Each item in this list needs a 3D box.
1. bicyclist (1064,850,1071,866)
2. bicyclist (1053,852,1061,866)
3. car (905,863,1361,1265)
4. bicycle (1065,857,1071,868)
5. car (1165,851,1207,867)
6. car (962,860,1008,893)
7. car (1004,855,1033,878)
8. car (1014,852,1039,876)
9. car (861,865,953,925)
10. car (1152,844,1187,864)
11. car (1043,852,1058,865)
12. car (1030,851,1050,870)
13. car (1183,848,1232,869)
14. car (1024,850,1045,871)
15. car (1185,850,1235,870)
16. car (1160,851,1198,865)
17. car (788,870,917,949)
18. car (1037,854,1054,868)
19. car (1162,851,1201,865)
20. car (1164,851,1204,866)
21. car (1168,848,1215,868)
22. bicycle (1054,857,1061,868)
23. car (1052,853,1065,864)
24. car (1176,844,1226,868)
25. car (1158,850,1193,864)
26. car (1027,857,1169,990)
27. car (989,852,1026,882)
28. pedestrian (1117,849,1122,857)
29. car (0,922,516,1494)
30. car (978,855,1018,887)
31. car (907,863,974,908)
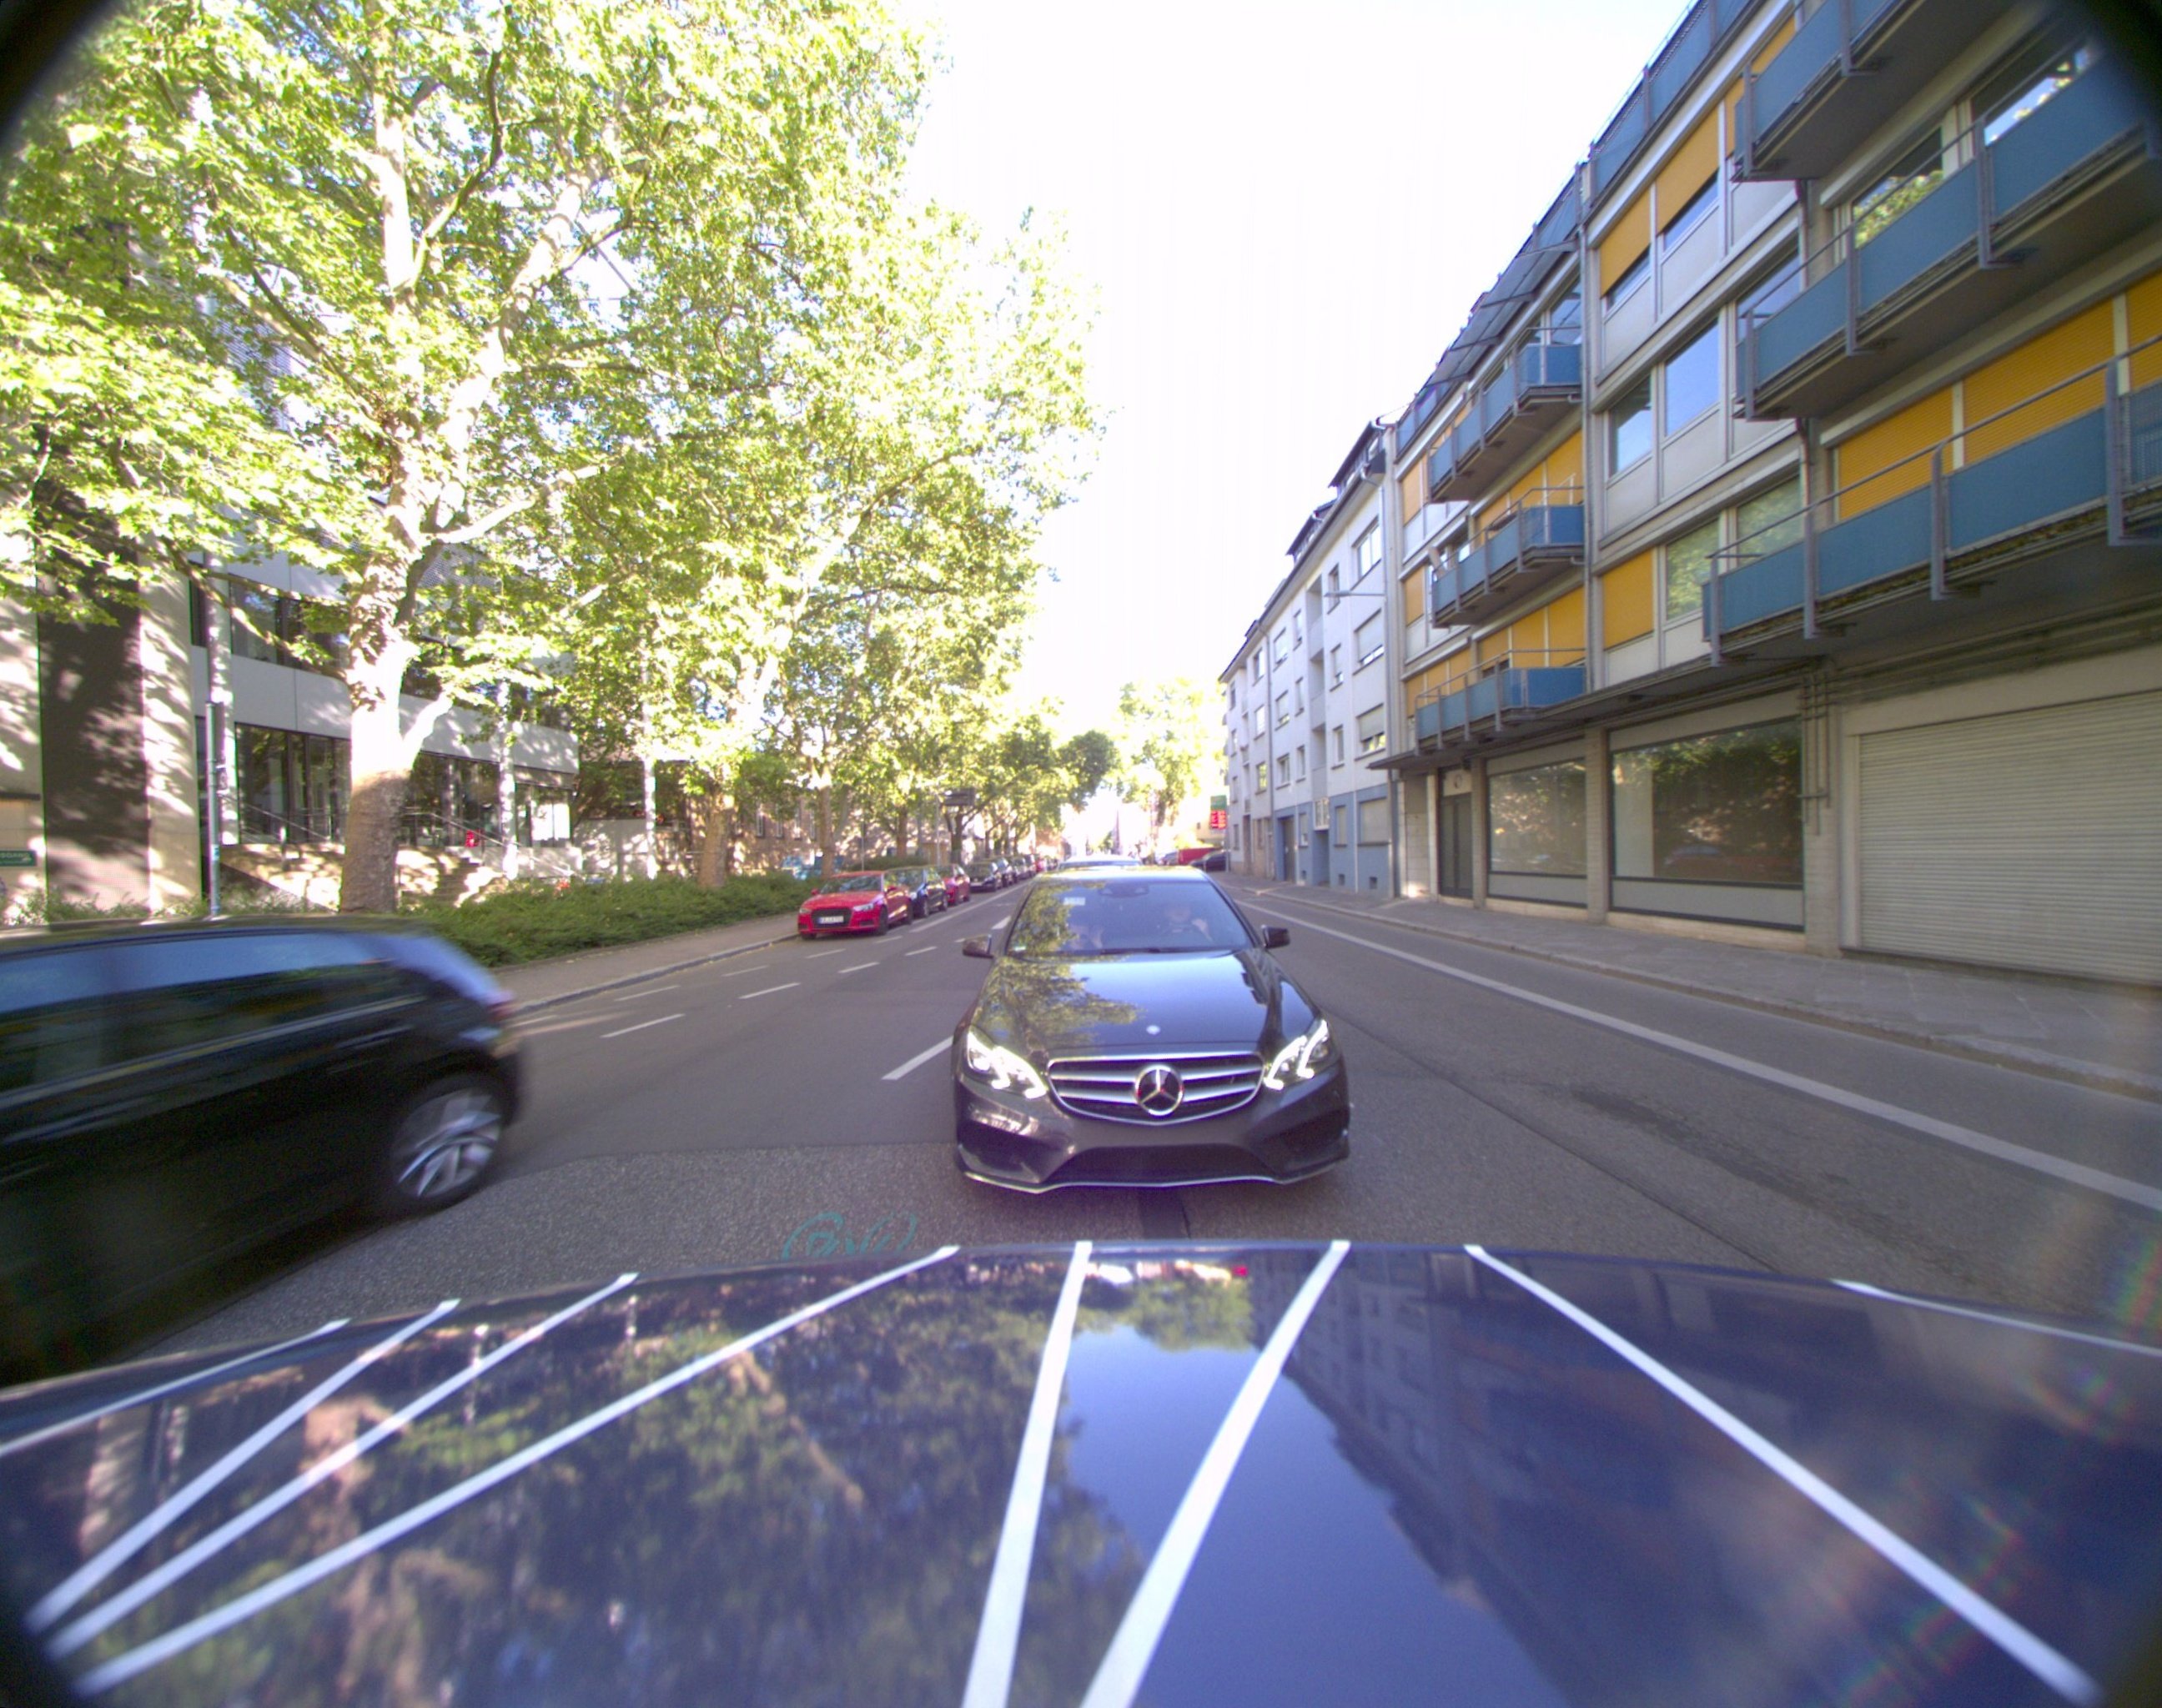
[{"bbox_3d":[-1.443,0.457,81.952,0.756,1.714,0.768,-2,1,-1],"label":"bicyclist"},{"bbox_3d":[-2.570,0.534,81.624,0.756,1.512,0.768,-2,1,-1],"label":"bicyclist"},{"bbox_3d":[0.212,0.897,5.286,1.828,1.495,4.293,-2,1,0],"label":"car"},{"bbox_3d":[-1.395,0.886,81.986,0.667,1.093,1.814,-2,1,0],"label":"bicycle"},{"bbox_3d":[10.372,0.456,74.968,3.905,1.366,1.594,-2,1,2],"label":"car"},{"bbox_3d":[-4.666,1.049,37.407,1.686,1.443,4.000,-2,0,0],"label":"car"},{"bbox_3d":[-4.426,0.877,54.515,1.686,1.552,3.868,-2,0,0],"label":"car"},{"bbox_3d":[-4.217,0.755,59.372,1.663,1.704,3.836,-2,0,0],"label":"car"},{"bbox_3d":[-5.013,1.130,22.422,1.686,1.458,4.000,-3,0,0],"label":"car"},{"bbox_3d":[10.401,0.029,89.311,3.905,2.164,1.725,-2,1,2],"label":"car"},{"bbox_3d":[-3.790,0.601,95.689,1.686,1.546,3.836,-2,0,0],"label":"car"},{"bbox_3d":[-4.098,0.638,76.020,1.686,1.749,3.836,-2,0,0],"label":"car"},{"bbox_3d":[10.128,0.361,61.138,3.668,1.501,1.602,-2,1,2],"label":"car"},{"bbox_3d":[-4.252,0.592,70.229,1.646,1.839,3.836,-2,0,0],"label":"car"},{"bbox_3d":[9.959,0.461,58.733,3.598,1.401,1.534,-2,0,2],"label":"car"},{"bbox_3d":[10.529,0.405,82.133,3.905,1.325,1.525,-2,1,2],"label":"car"},{"bbox_3d":[-5.132,1.190,17.663,1.724,1.412,4.030,-4,0,-1],"label":"car"},{"bbox_3d":[-4.052,0.748,87.066,1.639,1.493,3.752,-2,0,0],"label":"car"},{"bbox_3d":[10.520,0.432,79.745,3.905,1.325,1.525,-2,1,2],"label":"car"},{"bbox_3d":[10.404,0.432,76.990,3.905,1.366,1.594,-2,1,2],"label":"car"},{"bbox_3d":[9.715,0.334,66.777,3.905,1.577,1.603,-2,1,2],"label":"car"},{"bbox_3d":[-2.536,0.902,81.617,0.667,1.093,1.814,-2,1,0],"label":"bicycle"},{"bbox_3d":[-3.128,0.653,106.831,1.686,1.475,3.836,-2,0,0],"label":"car"},{"bbox_3d":[10.074,0.169,63.982,3.905,1.895,1.749,-2,1,2],"label":"car"},{"bbox_3d":[10.541,0.337,84.818,3.782,1.432,1.539,-2,1,2],"label":"car"},{"bbox_3d":[0.204,0.882,11.661,1.732,1.538,4.293,-2,1,0],"label":"car"},{"bbox_3d":[-4.595,0.774,48.192,1.819,1.758,4.431,-2,0,0],"label":"car"},{"bbox_3d":[10.152,-0.259,201.136,0.882,2.108,0.822,-1,1,32],"label":"pedestrian"},{"bbox_3d":[-3.924,1.123,1.978,1.693,1.432,3.903,-3,1,5],"label":"car"},{"bbox_3d":[-4.538,0.909,42.066,1.686,1.610,3.836,-2,0,0],"label":"car"},{"bbox_3d":[-5.010,1.095,27.607,1.666,1.426,3.781,-2,0,0],"label":"car"}]
